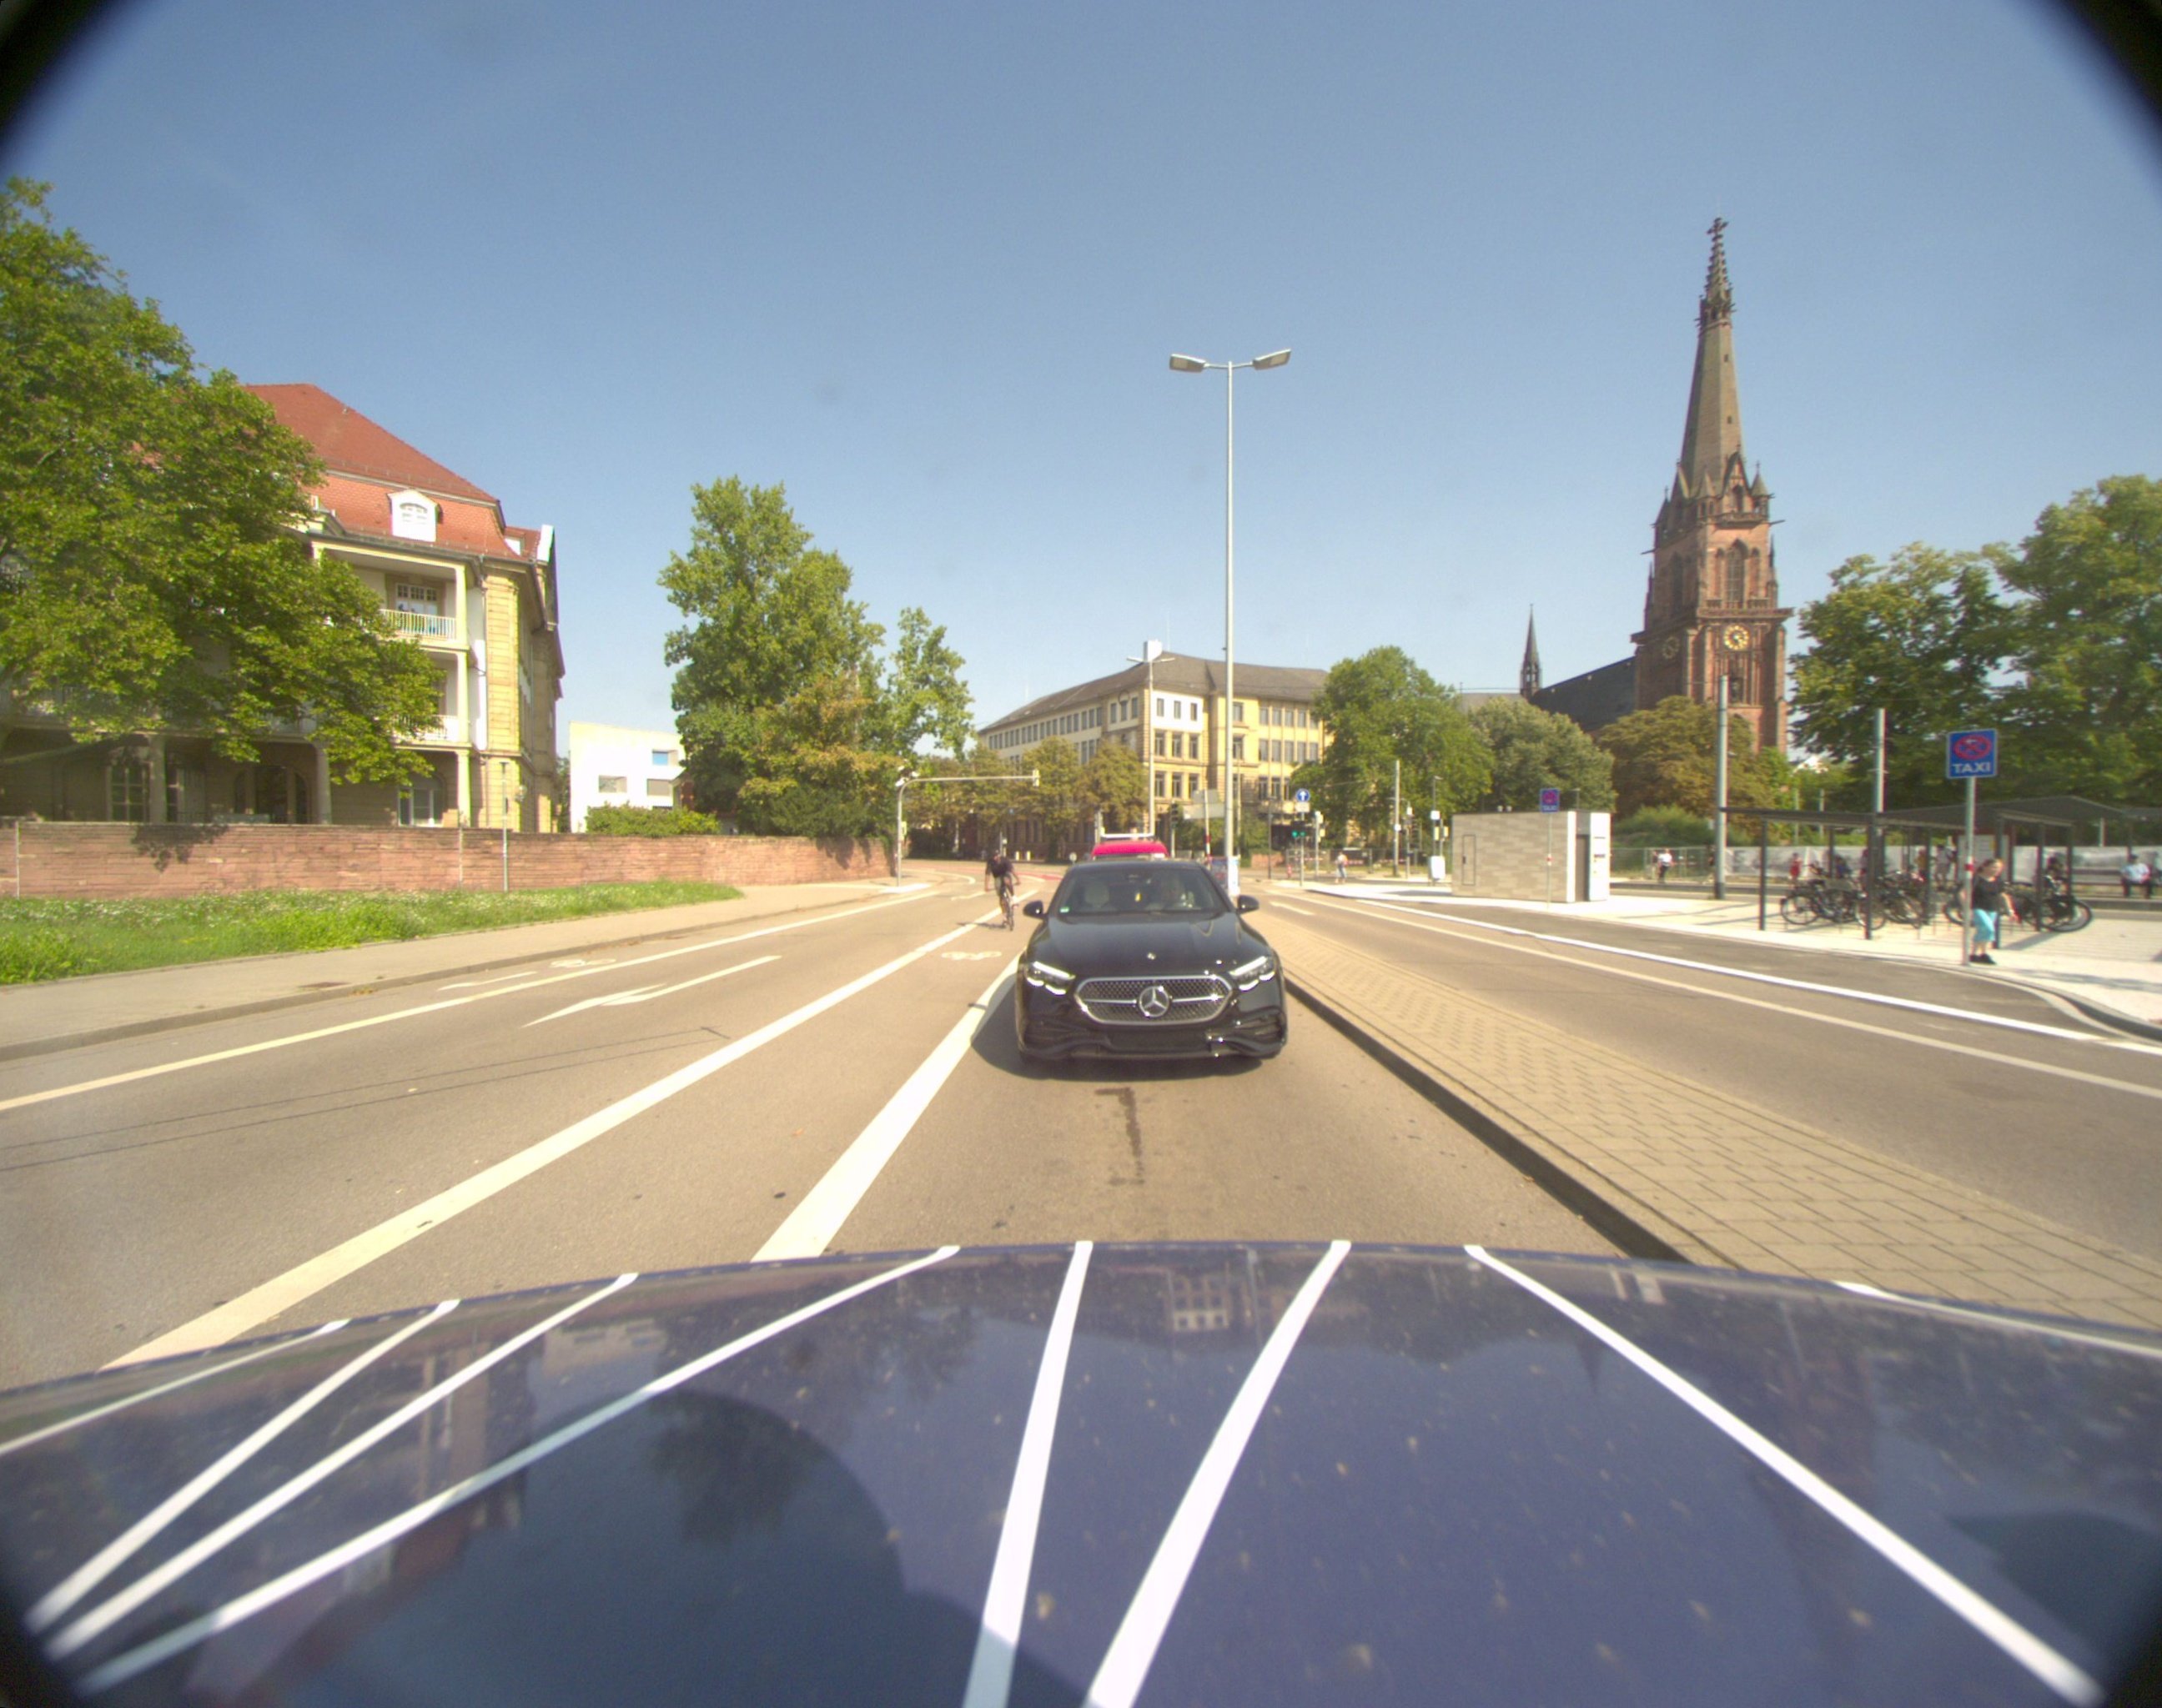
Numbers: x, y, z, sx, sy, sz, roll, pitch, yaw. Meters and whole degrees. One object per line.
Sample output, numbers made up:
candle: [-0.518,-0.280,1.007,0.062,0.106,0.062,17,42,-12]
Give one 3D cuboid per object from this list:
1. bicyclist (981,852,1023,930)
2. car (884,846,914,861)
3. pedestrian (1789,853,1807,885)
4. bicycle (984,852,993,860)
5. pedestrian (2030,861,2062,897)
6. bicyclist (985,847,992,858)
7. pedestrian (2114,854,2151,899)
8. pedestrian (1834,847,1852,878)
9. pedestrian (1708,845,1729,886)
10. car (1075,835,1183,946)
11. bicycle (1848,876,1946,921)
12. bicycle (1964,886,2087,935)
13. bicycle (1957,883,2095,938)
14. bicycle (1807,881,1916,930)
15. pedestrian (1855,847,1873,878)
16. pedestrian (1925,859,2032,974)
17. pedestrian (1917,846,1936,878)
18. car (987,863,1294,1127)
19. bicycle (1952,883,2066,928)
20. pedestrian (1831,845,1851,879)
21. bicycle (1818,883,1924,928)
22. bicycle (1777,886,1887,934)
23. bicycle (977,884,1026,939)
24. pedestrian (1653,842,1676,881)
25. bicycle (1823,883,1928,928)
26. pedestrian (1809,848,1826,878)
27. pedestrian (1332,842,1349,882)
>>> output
bicyclist: [-1.651,0.758,16.050,0.774,1.569,0.990,0,1,1]
car: [-21.992,-0.051,91.823,2.003,1.601,4.234,-4,3,-35]
pedestrian: [29.774,0.610,31.569,0.394,1.310,0.414,-3,1,-27]
bicycle: [-11.503,0.189,94.504,0.667,0.951,2.083,0,1,-23]
pedestrian: [32.287,0.830,25.418,0.468,1.190,0.573,-1,1,-31]
bicyclist: [-11.493,-0.147,94.473,0.667,1.332,0.923,0,1,-23]
pedestrian: [33.101,0.691,23.921,0.663,1.387,0.642,-1,2,-34]
pedestrian: [30.432,0.348,30.353,0.440,1.217,0.382,-3,1,-30]
pedestrian: [26.612,0.459,31.709,0.517,1.697,0.504,1,2,26]
car: [0.921,0.591,14.917,1.736,1.809,4.278,-2,1,3]
bicycle: [20.102,1.077,18.751,0.453,0.972,1.584,-2,2,-31]
bicycle: [20.057,1.177,16.168,0.410,0.887,1.584,-1,1,-31]
bicycle: [19.342,1.135,15.596,0.534,0.981,1.709,-1,1,-31]
bicycle: [17.065,1.101,16.653,0.422,0.962,1.584,-1,1,-31]
pedestrian: [30.996,0.329,30.068,0.440,1.217,0.382,-3,1,-30]
pedestrian: [12.693,0.868,10.757,0.754,1.556,0.666,1,1,-15]
pedestrian: [32.176,0.297,28.905,0.440,1.217,0.382,-3,1,-30]
car: [0.528,0.897,7.033,1.824,1.432,4.874,-1,1,4]
bicycle: [21.043,1.145,17.267,0.410,0.887,1.584,-1,1,-31]
pedestrian: [29.787,0.305,29.784,0.440,1.310,0.434,-3,1,-30]
bicycle: [17.721,1.132,17.088,0.402,0.887,1.584,-1,1,-31]
bicycle: [15.873,1.164,16.105,0.402,0.887,1.584,-1,1,-31]
bicycle: [-1.631,1.168,15.980,0.774,0.970,2.150,0,1,1]
pedestrian: [26.477,0.326,34.465,0.716,1.738,0.389,0,1,1]
bicycle: [18.139,1.152,17.380,0.410,0.887,1.584,-1,1,-31]
pedestrian: [29.850,0.365,30.788,0.440,1.217,0.382,-3,1,-30]
pedestrian: [13.063,0.384,38.248,0.732,2.002,0.715,0,1,12]
